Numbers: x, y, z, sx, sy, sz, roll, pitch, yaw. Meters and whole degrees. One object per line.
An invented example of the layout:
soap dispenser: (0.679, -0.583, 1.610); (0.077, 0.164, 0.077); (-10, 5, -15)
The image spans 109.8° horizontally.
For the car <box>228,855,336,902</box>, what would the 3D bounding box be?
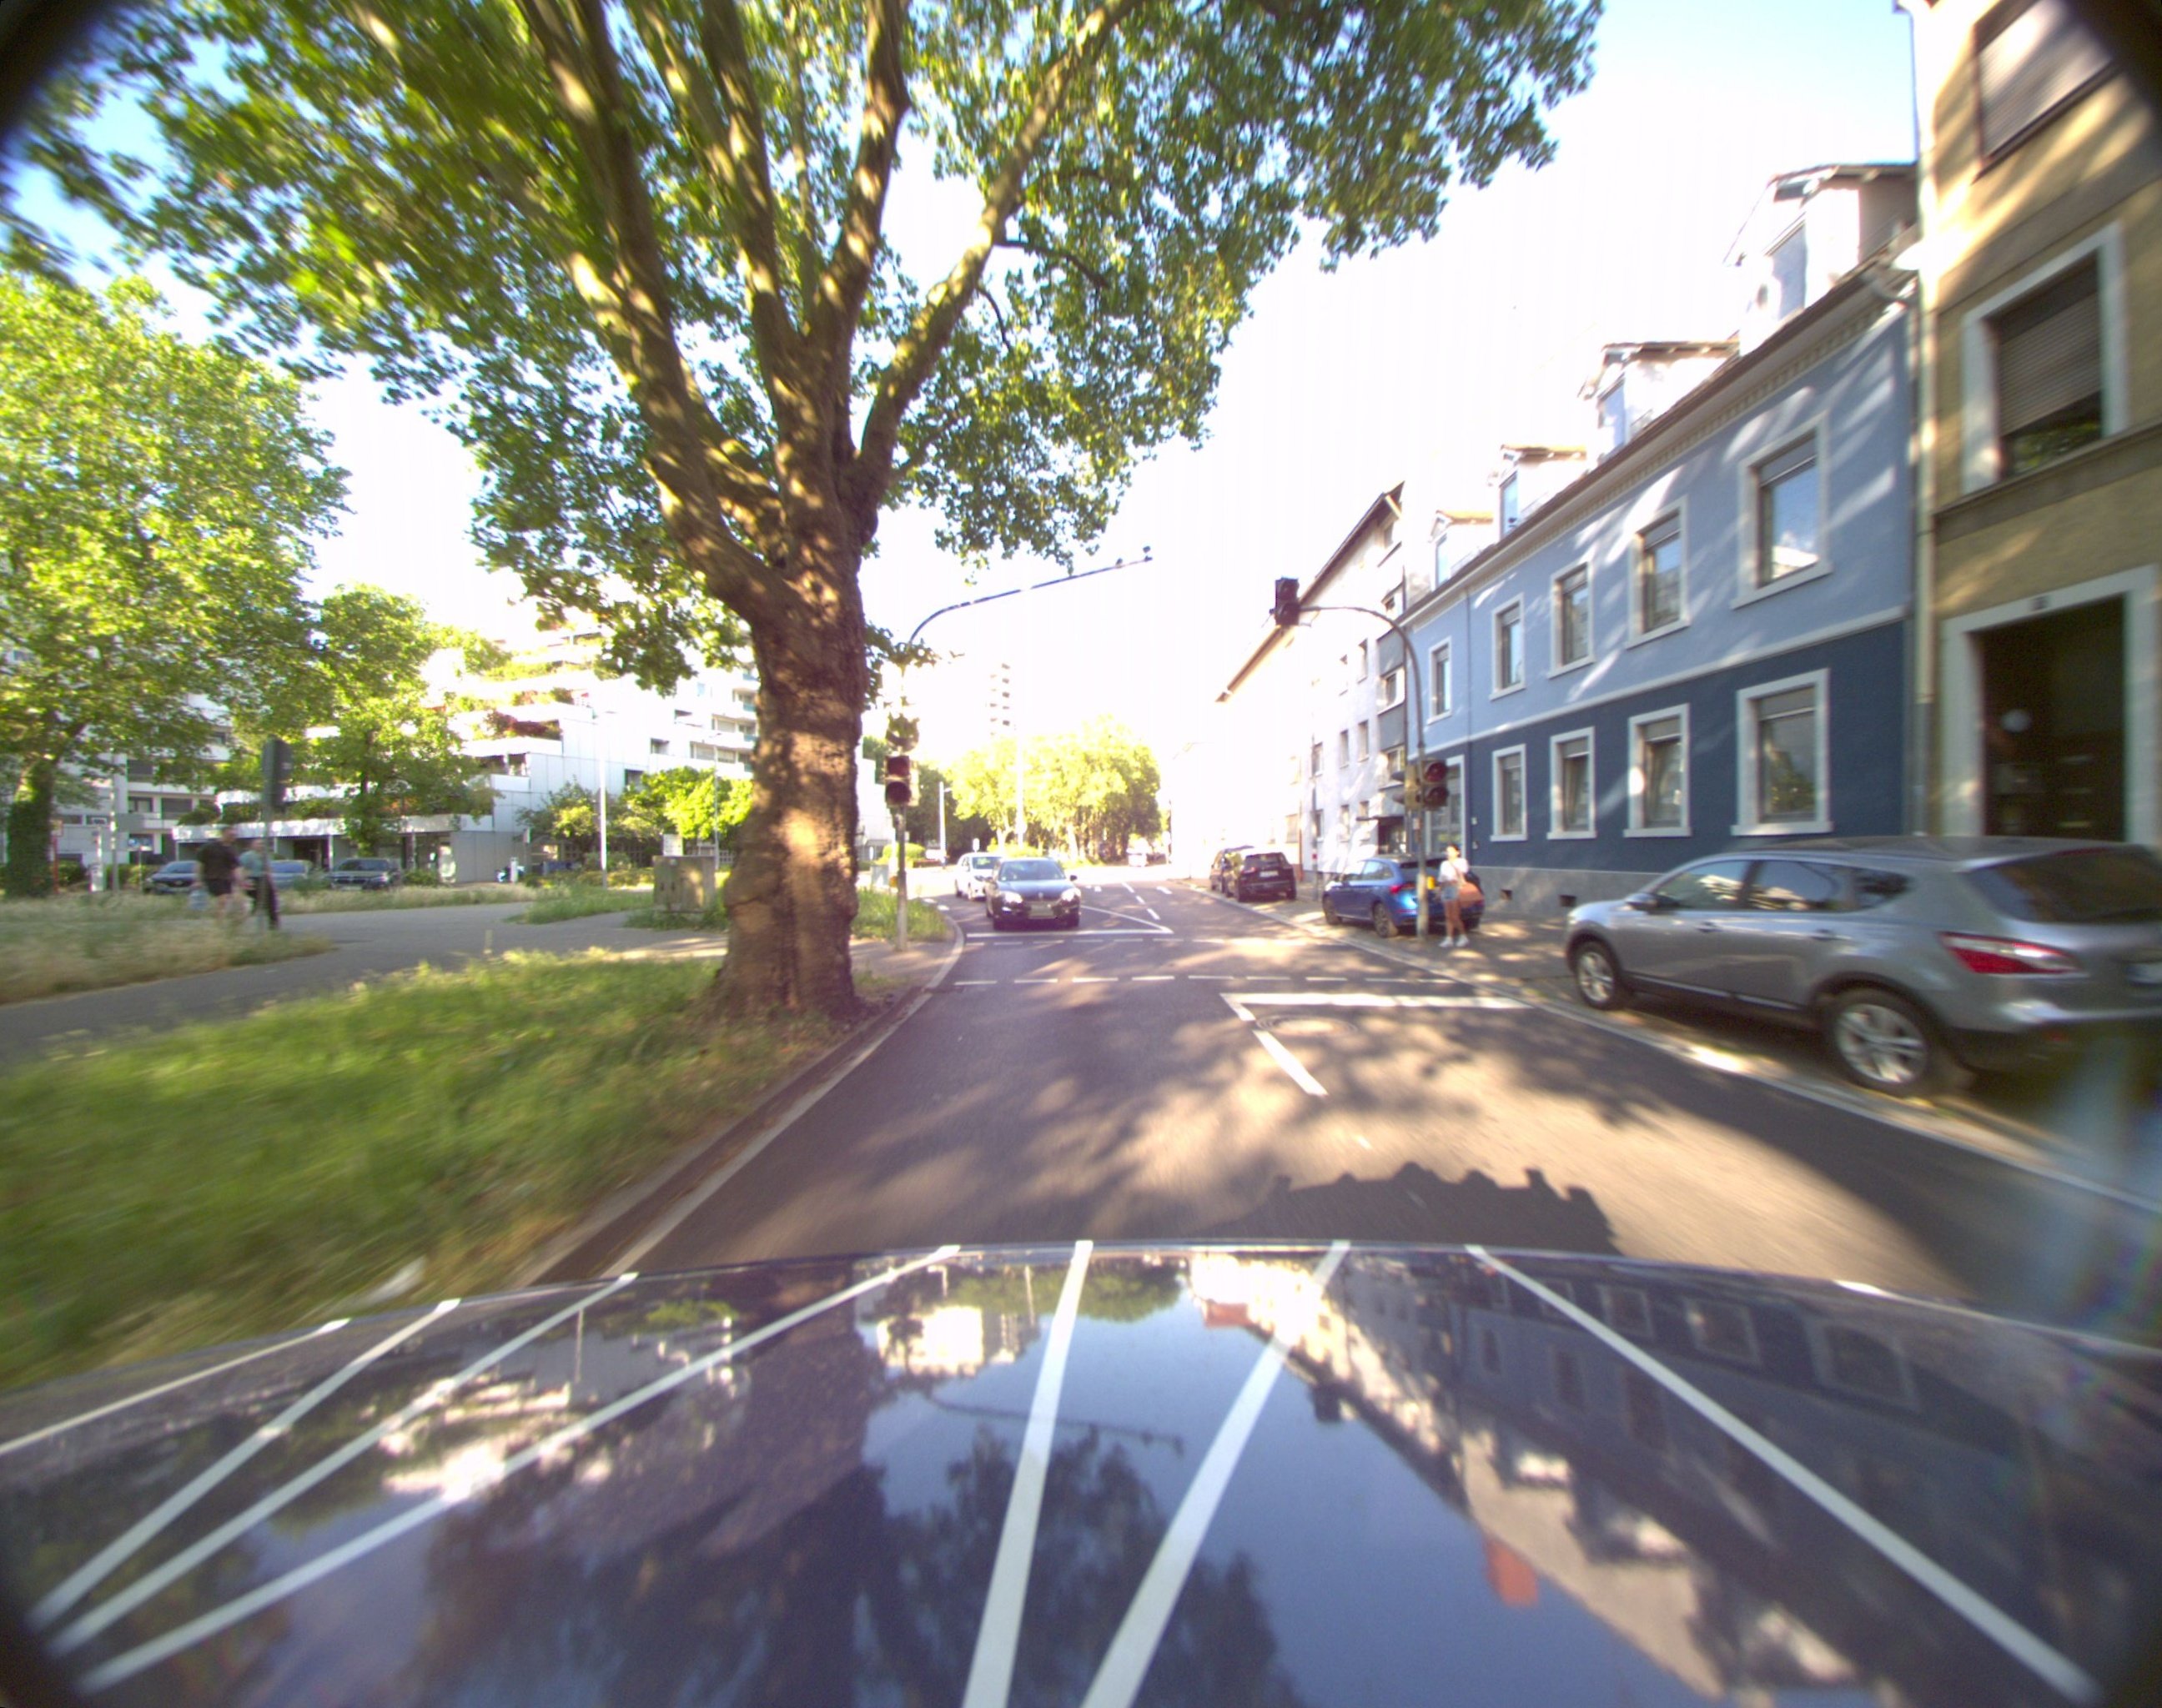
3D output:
car: (-28.958, 0.921, 27.695); (1.832, 1.577, 4.359); (2, -3, -35)

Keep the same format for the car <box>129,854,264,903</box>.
car: (-31.866, 0.906, 27.546); (1.876, 1.628, 3.992); (1, -3, -29)

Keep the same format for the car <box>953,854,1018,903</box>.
car: (-3.046, 0.740, 24.867); (1.654, 1.445, 3.534); (-1, 0, 0)

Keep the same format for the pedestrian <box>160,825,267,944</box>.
pedestrian: (-14.494, 0.493, 12.722); (0.839, 1.921, 0.781); (-1, 1, -13)

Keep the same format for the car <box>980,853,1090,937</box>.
car: (-1.172, 0.793, 16.940); (1.846, 1.536, 4.519); (-3, 0, -10)

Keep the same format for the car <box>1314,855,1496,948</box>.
car: (6.126, 0.804, 14.960); (1.654, 1.478, 4.261); (-2, 0, -1)

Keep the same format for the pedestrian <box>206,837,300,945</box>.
pedestrian: (-14.872, 0.641, 13.670); (0.785, 1.869, 0.802); (-1, 1, -12)

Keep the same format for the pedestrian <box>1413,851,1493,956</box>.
pedestrian: (5.729, 0.743, 11.731); (0.866, 1.561, 0.705); (-1, 1, -6)

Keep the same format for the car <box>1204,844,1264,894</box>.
car: (6.143, 0.552, 30.834); (1.668, 1.808, 4.005); (-2, 1, 2)

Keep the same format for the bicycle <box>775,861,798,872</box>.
bicycle: (-23.570, 1.013, 60.873); (0.463, 0.833, 1.704); (0, 1, 35)

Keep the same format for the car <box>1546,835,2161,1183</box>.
car: (5.724, 0.740, 5.810); (1.786, 1.663, 4.155); (-2, 0, 1)

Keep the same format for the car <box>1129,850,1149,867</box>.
car: (6.087, 0.422, 80.478); (1.898, 1.782, 4.000); (0, 0, 2)

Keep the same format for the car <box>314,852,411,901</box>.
car: (-26.333, 0.860, 28.016); (1.942, 1.649, 4.467); (2, -3, -35)

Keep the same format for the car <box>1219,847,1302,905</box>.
car: (5.864, 0.650, 25.342); (1.910, 1.663, 4.493); (-2, 0, 4)
